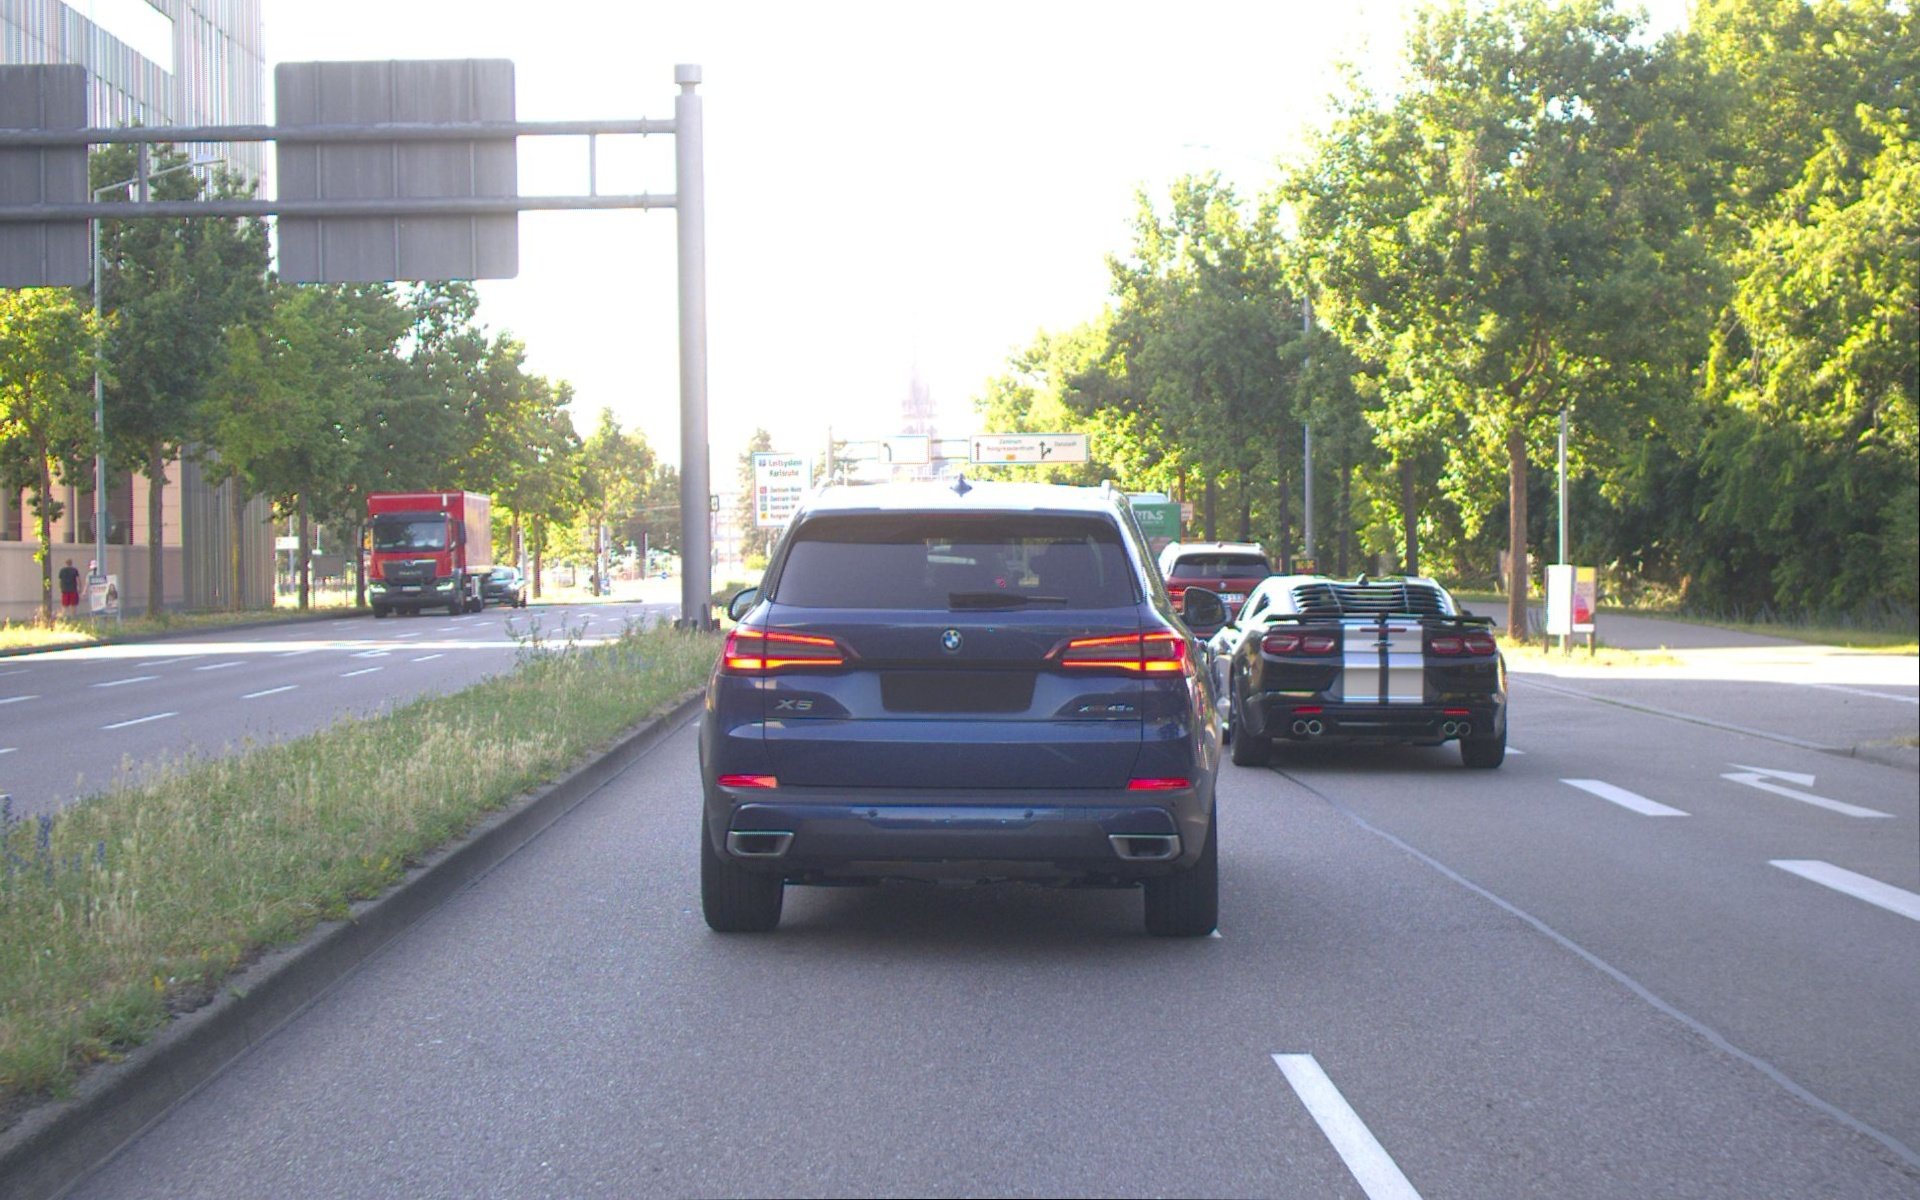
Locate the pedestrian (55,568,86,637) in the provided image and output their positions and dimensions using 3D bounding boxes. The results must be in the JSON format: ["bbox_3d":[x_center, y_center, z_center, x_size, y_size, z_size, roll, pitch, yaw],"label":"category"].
[{"bbox_3d":[-23.843,0.060,92.140,0.632,1.835,0.716,0,1,1],"label":"pedestrian"}]

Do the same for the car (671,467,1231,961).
[{"bbox_3d":[-0.020,0.399,14.460,1.955,1.721,4.699,1,0,0],"label":"car"}]

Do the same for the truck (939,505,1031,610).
[{"bbox_3d":[0.625,-1.109,89.265,2.219,2.642,4.774,0,1,-1],"label":"truck"}]

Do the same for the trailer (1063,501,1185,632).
[{"bbox_3d":[3.072,-0.635,65.035,2.090,2.392,3.501,1,0,0],"label":"trailer"}]

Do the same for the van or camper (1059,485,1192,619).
[{"bbox_3d":[3.353,-0.985,71.061,2.284,2.620,6.583,1,1,-1],"label":"van or camper"}]

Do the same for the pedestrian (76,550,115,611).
[{"bbox_3d":[-22.957,-0.529,91.292,0.776,1.596,0.909,-1,1,1],"label":"pedestrian"}]

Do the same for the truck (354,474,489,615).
[{"bbox_3d":[-15.345,-1.588,98.586,2.998,3.798,10.091,0,1,-4],"label":"truck"}]

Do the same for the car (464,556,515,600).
[{"bbox_3d":[-16.549,-0.790,120.942,1.595,1.507,3.868,-1,1,-5],"label":"car"}]

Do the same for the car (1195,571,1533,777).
[{"bbox_3d":[2.838,0.472,25.130,1.854,1.333,4.625,1,1,-1],"label":"car"}]

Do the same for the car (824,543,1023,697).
[{"bbox_3d":[-0.320,0.170,35.137,1.747,1.468,3.819,-1,1,3],"label":"car"}]

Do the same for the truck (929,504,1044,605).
[{"bbox_3d":[0.642,-1.198,90.595,2.580,2.549,6.252,-1,1,-3],"label":"truck"}]

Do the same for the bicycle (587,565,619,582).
[{"bbox_3d":[-22.193,-1.661,213.898,1.910,1.016,0.504,1,0,15],"label":"bicycle"}]

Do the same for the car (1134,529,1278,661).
[{"bbox_3d":[3.175,-0.049,44.645,1.747,1.615,3.819,-1,0,4],"label":"car"}]
